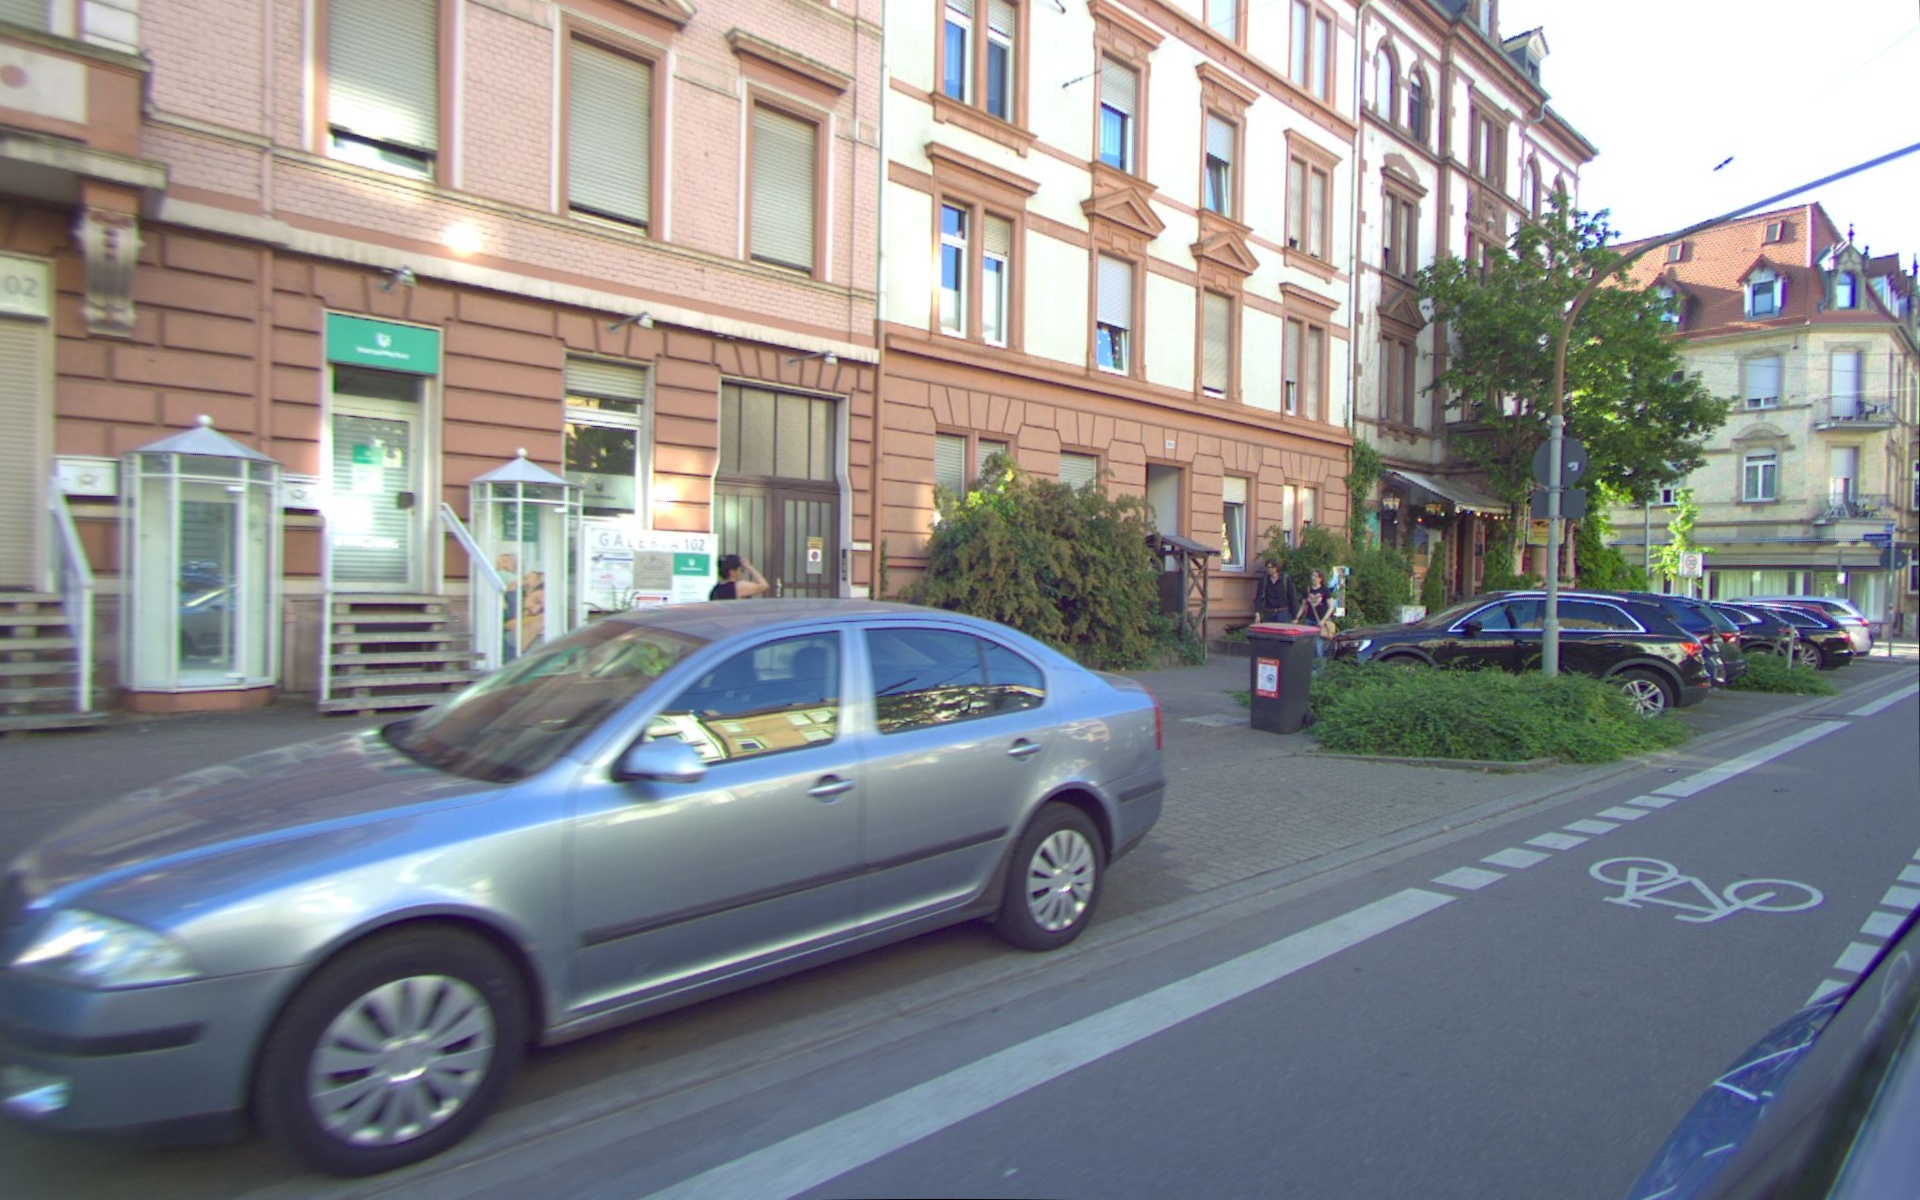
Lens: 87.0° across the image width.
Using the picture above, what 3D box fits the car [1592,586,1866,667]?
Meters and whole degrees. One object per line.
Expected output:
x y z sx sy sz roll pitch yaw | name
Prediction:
16.585 0.512 22.166 4.403 1.616 2.070 0 1 26 | car

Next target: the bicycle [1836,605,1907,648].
25.369 0.727 28.179 0.542 1.141 1.400 0 1 -40 | bicycle

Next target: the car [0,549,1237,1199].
-1.002 0.676 4.176 4.636 1.616 1.877 -1 1 -41 | car

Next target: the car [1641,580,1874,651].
18.625 0.313 23.880 3.958 1.556 1.902 0 1 26 | car

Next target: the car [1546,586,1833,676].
14.215 0.530 20.080 4.287 1.616 2.027 0 1 26 | car

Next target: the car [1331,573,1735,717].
7.071 0.481 13.085 4.264 1.616 1.969 0 1 21 | car

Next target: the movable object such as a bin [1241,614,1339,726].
3.335 0.677 10.223 0.792 1.040 0.605 0 1 -41 | movable object such as a bin

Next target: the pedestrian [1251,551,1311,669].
5.029 0.148 15.841 0.848 1.800 0.519 0 0 -41 | pedestrian

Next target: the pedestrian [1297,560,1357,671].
5.693 0.231 15.699 0.848 1.669 0.519 0 0 -41 | pedestrian

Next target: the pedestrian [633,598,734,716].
-2.585 0.504 9.438 0.643 0.992 0.713 0 4 -41 | pedestrian

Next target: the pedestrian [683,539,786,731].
-2.022 0.293 9.057 0.643 1.627 0.713 0 0 -41 | pedestrian

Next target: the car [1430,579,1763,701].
9.222 0.500 15.134 3.958 1.616 2.069 0 1 26 | car

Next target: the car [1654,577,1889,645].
20.384 0.236 25.676 4.320 1.616 1.837 0 1 26 | car

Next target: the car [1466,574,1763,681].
10.797 0.391 17.094 3.958 1.616 1.942 0 1 26 | car
